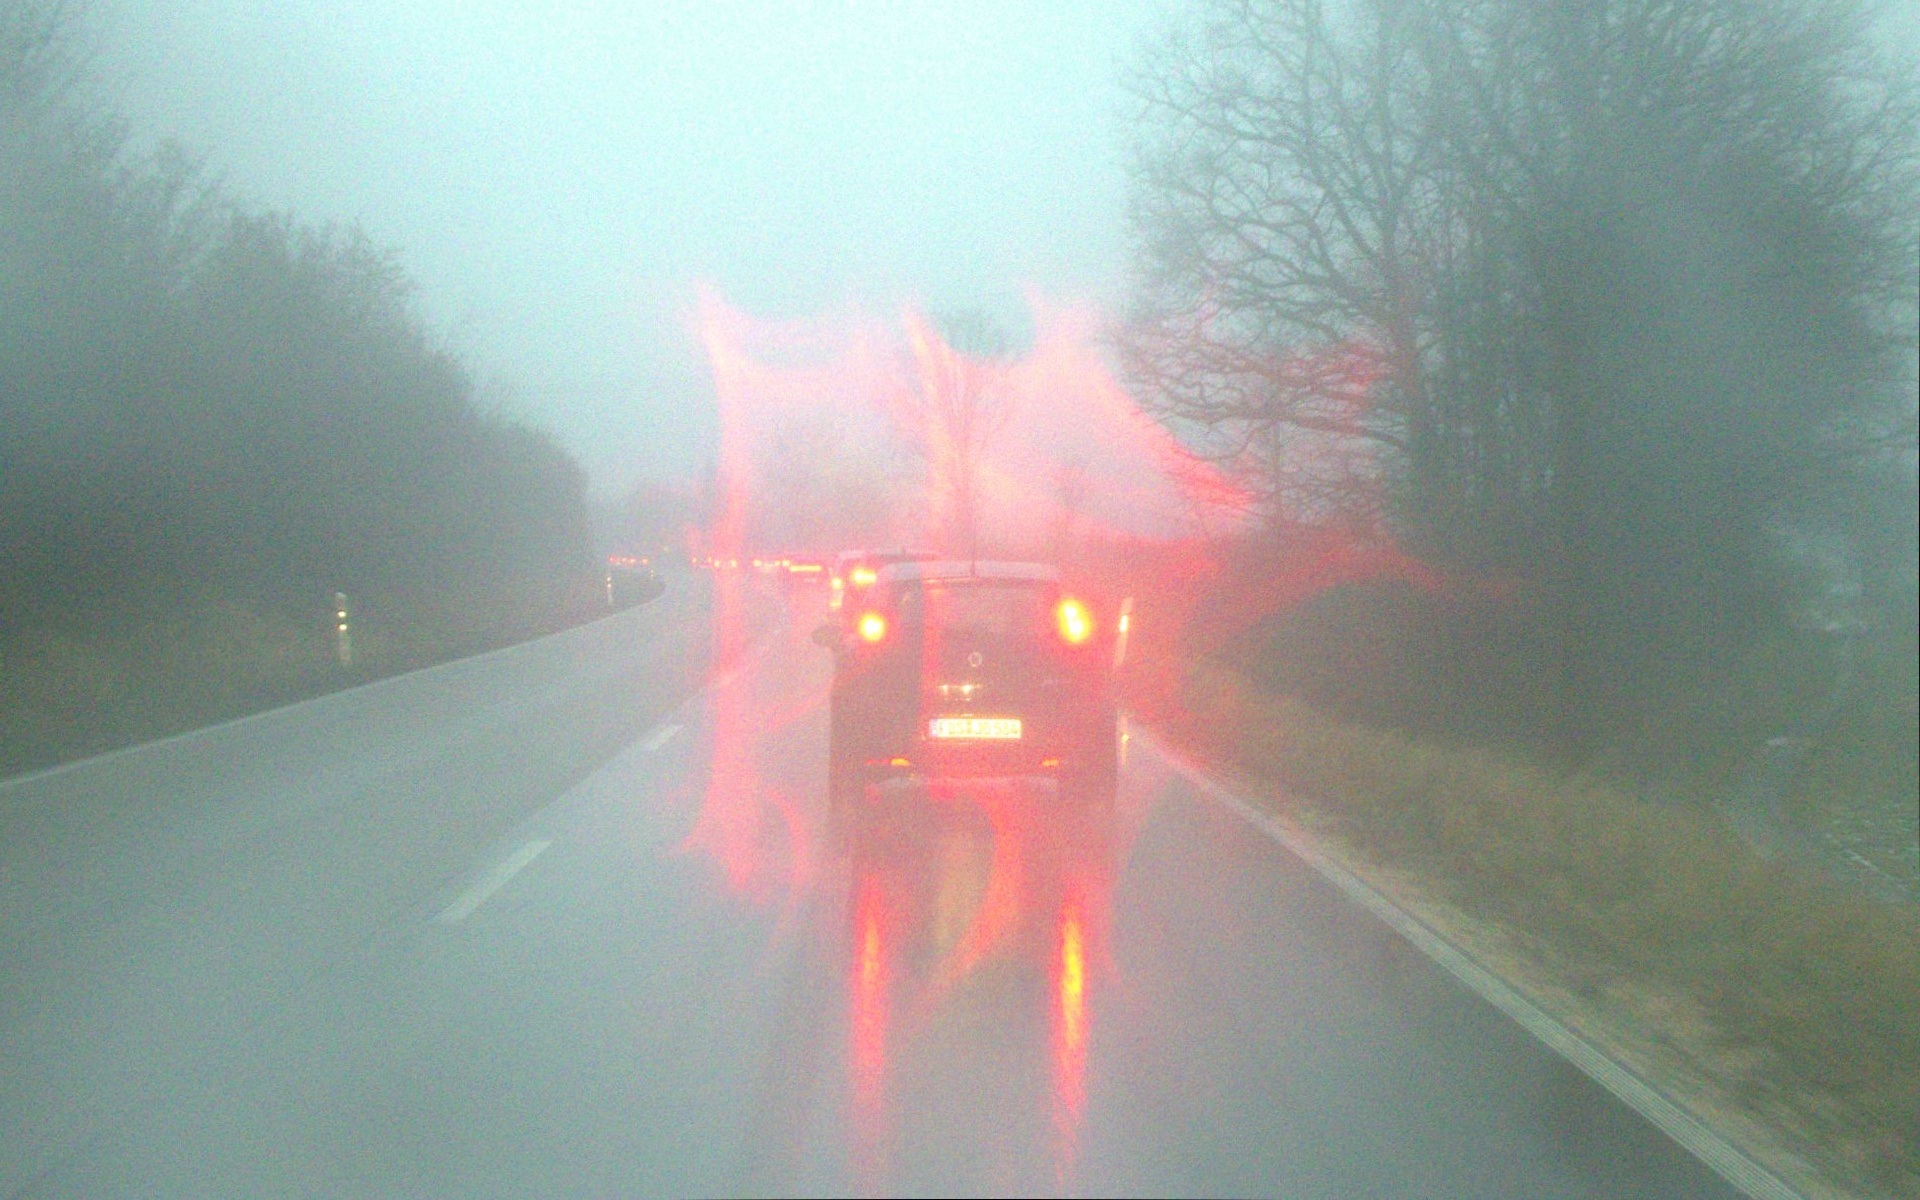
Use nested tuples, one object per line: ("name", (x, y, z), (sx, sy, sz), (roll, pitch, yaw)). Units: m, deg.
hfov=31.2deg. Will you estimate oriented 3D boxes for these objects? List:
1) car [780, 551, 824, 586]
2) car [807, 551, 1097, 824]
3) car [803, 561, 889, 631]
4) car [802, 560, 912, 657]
("car", (-6.418, -1.300, 139.562), (1.547, 1.392, 3.869), (1, 1, 1))
("car", (0.031, 0.467, 21.329), (1.602, 1.517, 3.869), (1, 1, 3))
("car", (-2.344, -0.104, 71.371), (1.547, 1.392, 3.869), (1, 1, 2))
("car", (-1.524, 0.101, 52.070), (1.547, 1.392, 3.869), (1, 1, 0))
